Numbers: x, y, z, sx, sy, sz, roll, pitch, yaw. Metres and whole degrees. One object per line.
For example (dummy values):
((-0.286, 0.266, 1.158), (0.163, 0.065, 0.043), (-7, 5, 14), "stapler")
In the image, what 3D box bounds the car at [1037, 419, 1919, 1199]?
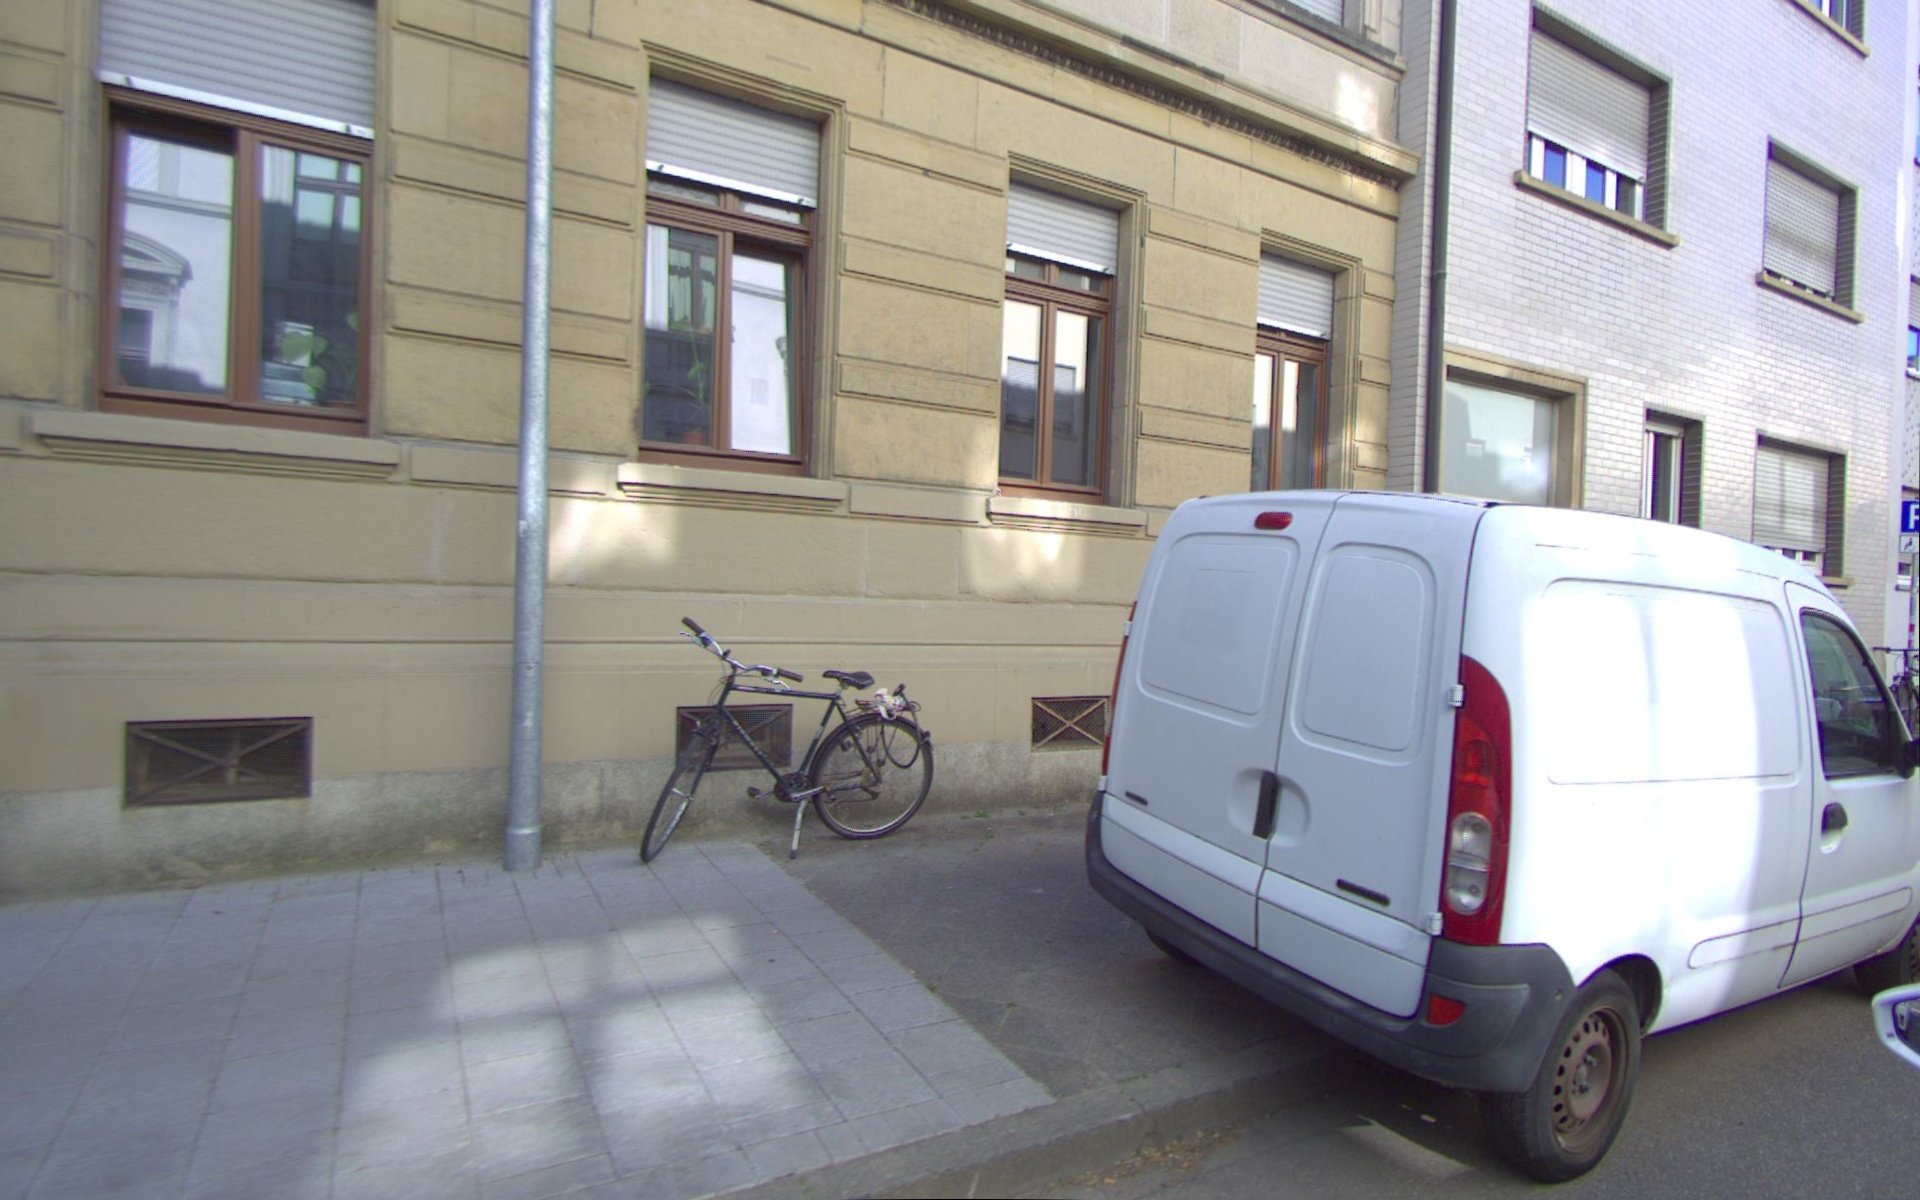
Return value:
((2.495, 0.550, 3.877), (4.041, 1.902, 1.735), (1, 4, -30), "car")

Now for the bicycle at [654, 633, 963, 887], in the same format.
((-0.747, 0.758, 5.154), (1.491, 1.140, 0.430), (2, 1, -31), "bicycle")

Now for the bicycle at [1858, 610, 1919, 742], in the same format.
((11.931, 0.920, 12.547), (1.781, 1.529, 0.554), (2, 2, -34), "bicycle")
